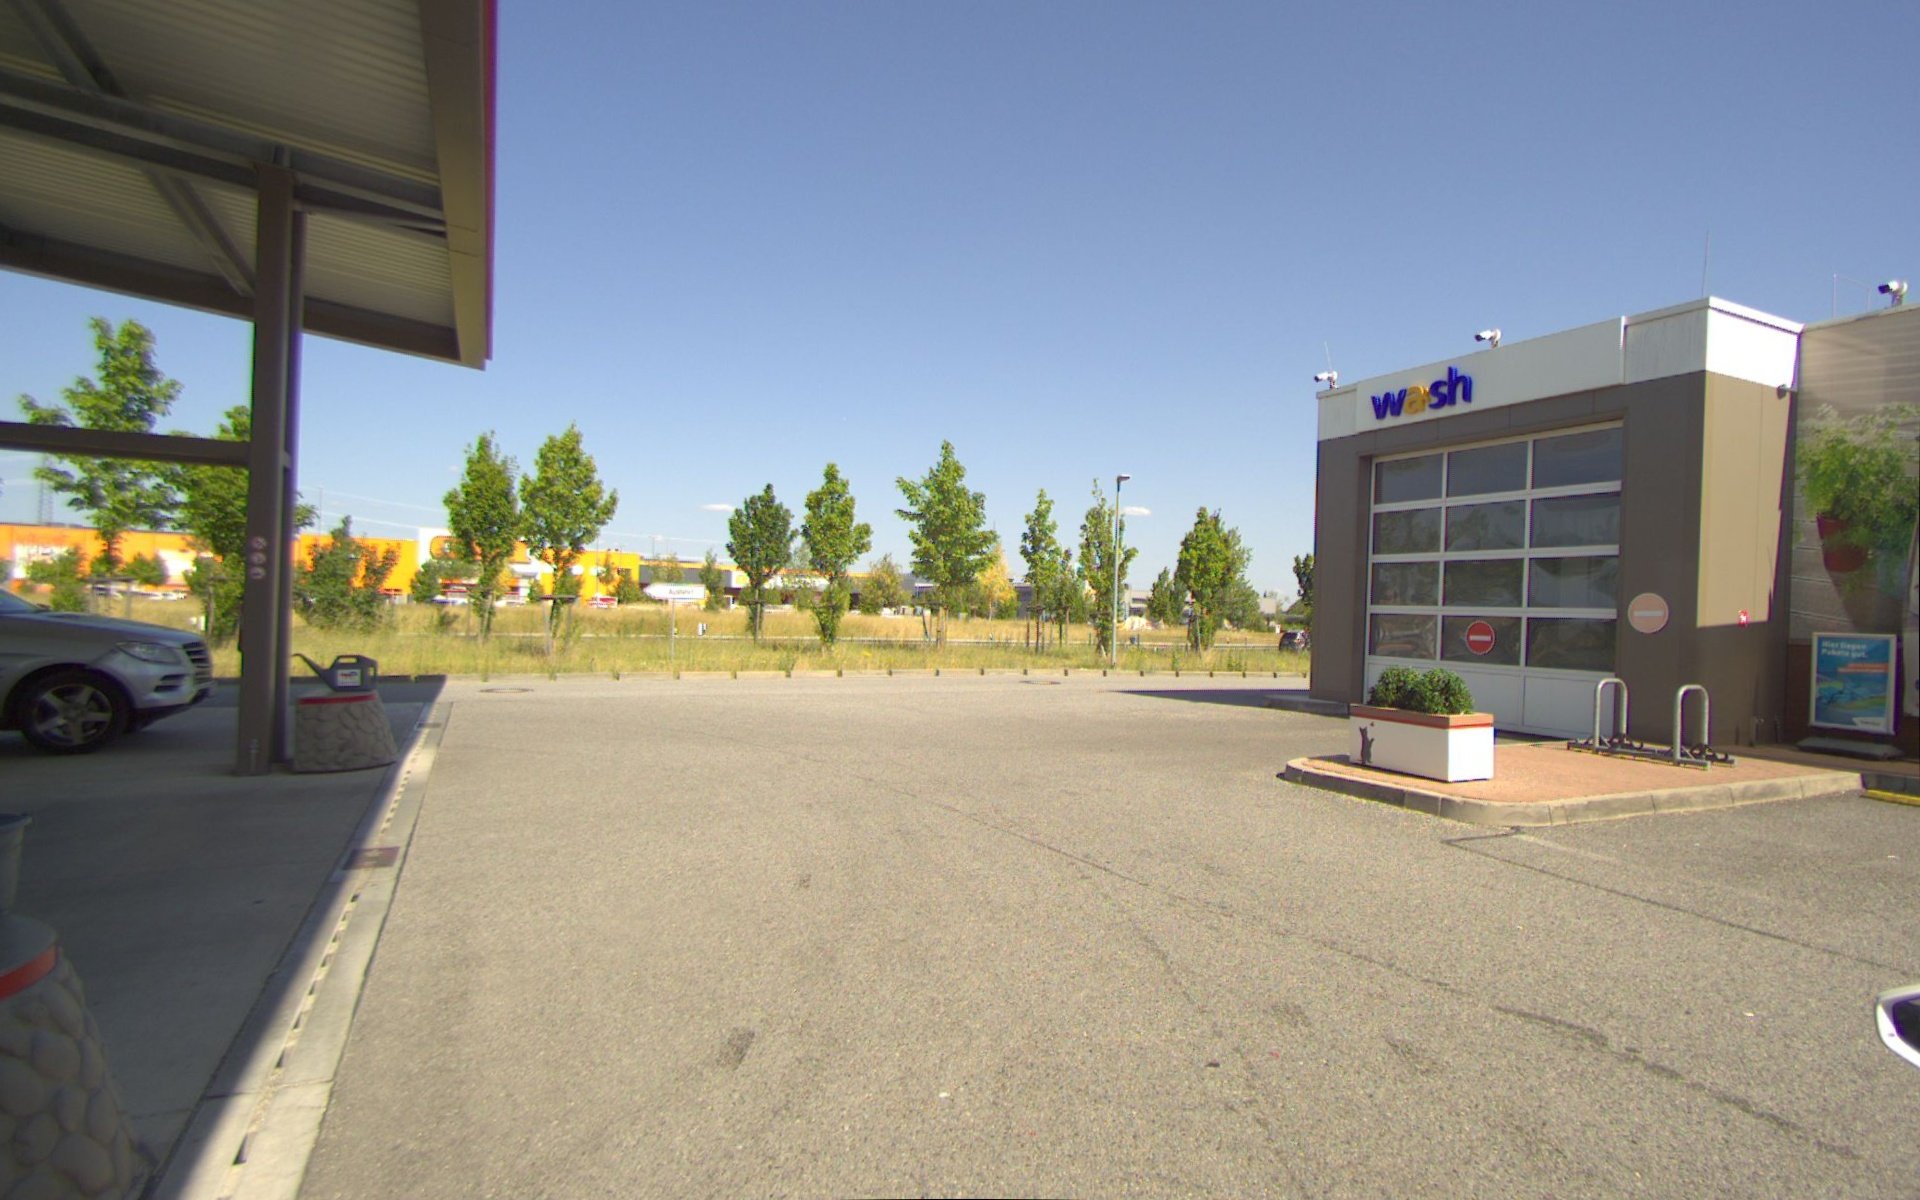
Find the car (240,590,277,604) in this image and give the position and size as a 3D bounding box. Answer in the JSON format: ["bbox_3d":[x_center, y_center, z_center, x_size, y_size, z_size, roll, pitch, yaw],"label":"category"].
[{"bbox_3d":[-73.445,-0.321,105.143,2.905,1.316,1.477,1,-1,-24],"label":"car"}]

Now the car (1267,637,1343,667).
[{"bbox_3d":[21.220,3.189,61.720,4.521,1.774,1.778,2,0,-27],"label":"car"}]

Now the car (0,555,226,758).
[{"bbox_3d":[-9.330,0.450,8.776,4.482,1.710,1.851,1,0,-30],"label":"car"}]
